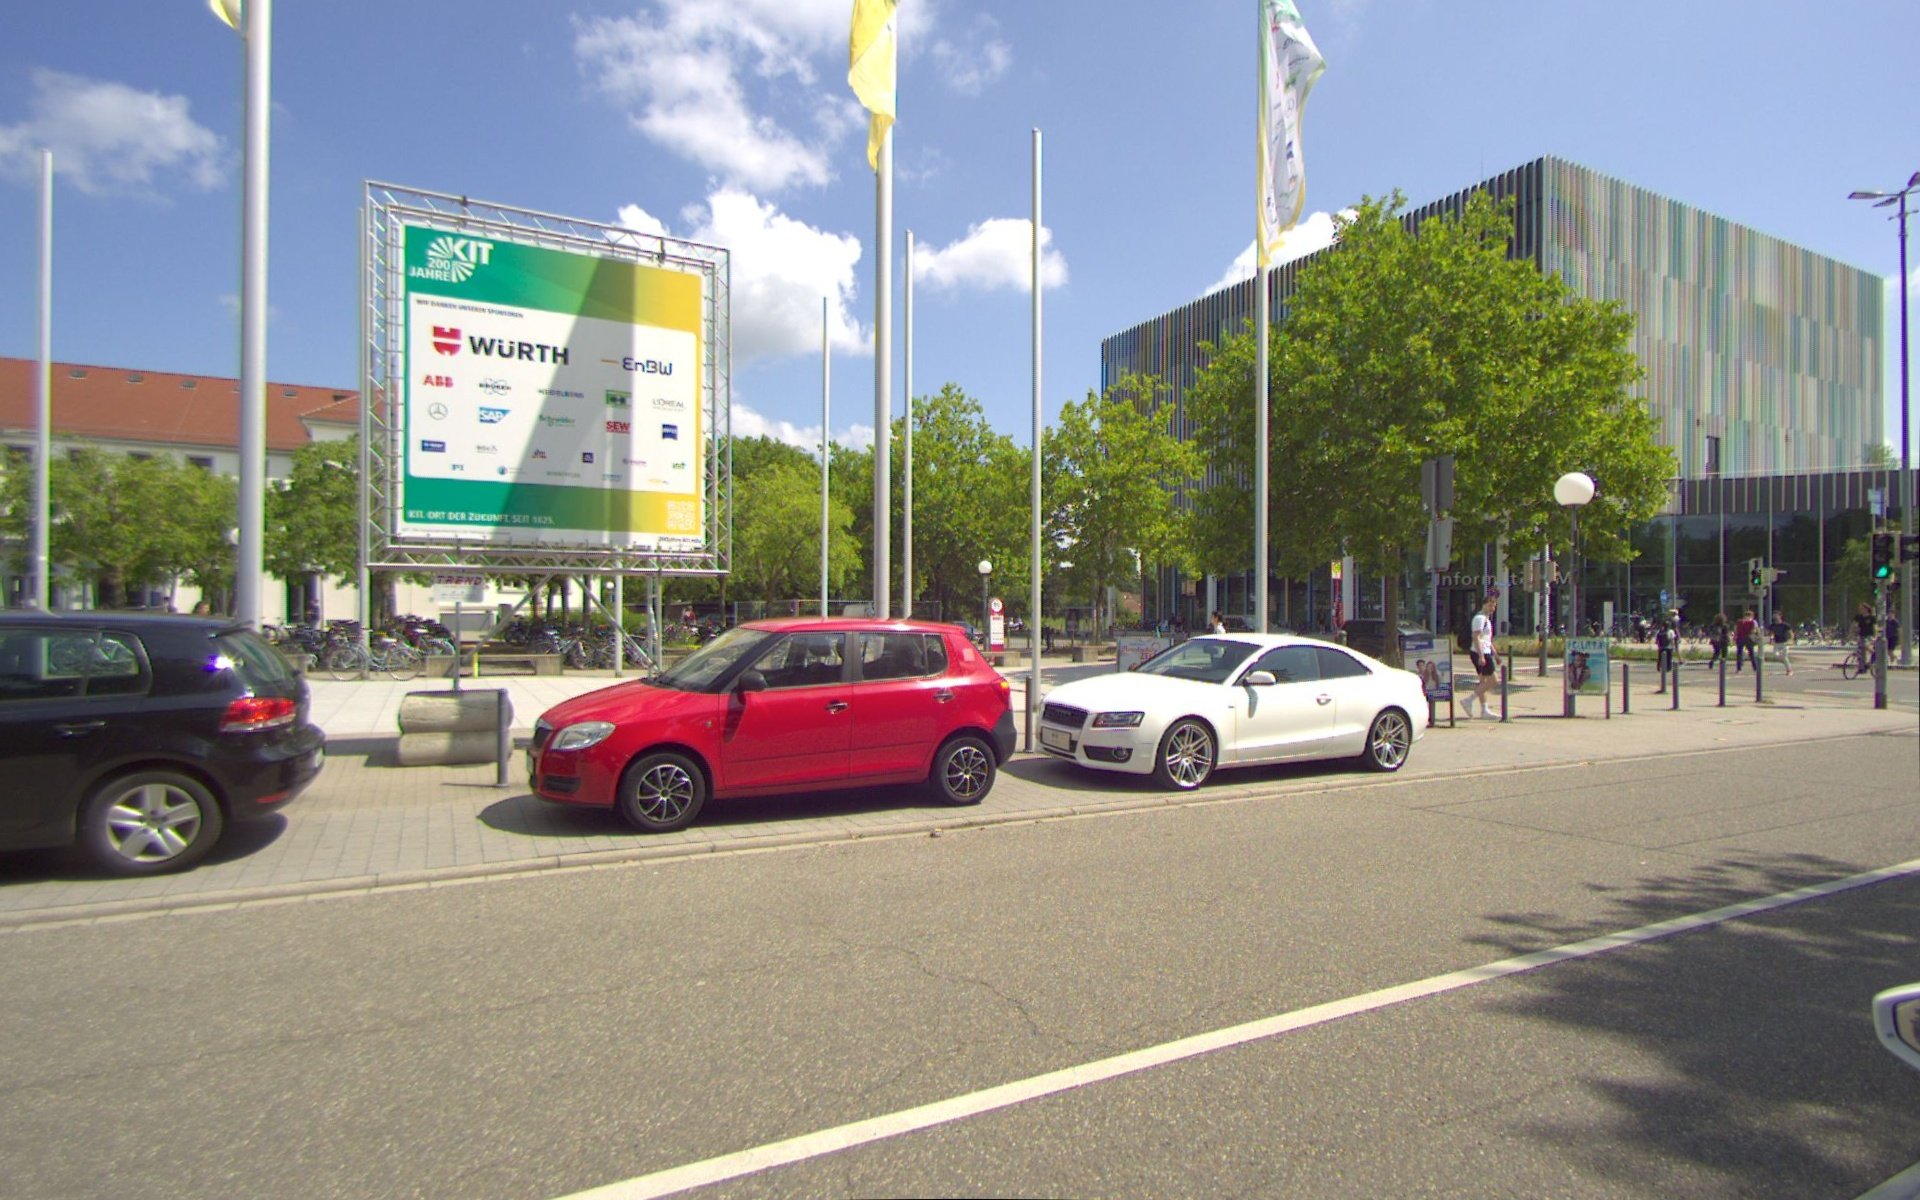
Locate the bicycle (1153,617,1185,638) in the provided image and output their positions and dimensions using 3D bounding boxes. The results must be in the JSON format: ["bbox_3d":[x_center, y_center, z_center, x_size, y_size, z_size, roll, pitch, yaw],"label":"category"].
[{"bbox_3d":[18.720,2.466,89.989,2.914,1.863,0.955,1,0,-28],"label":"bicycle"}]

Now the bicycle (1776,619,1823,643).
[{"bbox_3d":[45.205,1.640,54.120,1.178,1.254,2.949,1,-1,24],"label":"bicycle"}]

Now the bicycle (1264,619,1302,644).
[{"bbox_3d":[24.803,2.422,77.220,2.911,1.863,0.956,1,0,-25],"label":"bicycle"}]

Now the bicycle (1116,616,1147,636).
[{"bbox_3d":[16.214,2.480,94.800,2.914,1.863,0.955,1,0,-28],"label":"bicycle"}]

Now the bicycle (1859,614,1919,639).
[{"bbox_3d":[48.540,1.384,52.490,1.177,1.254,2.952,1,-1,16],"label":"bicycle"}]

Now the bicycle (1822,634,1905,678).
[{"bbox_3d":[24.102,1.481,26.795,1.994,1.137,0.770,0,-1,-19],"label":"bicycle"}]

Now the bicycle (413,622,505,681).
[{"bbox_3d":[-13.415,1.330,26.846,2.906,1.430,1.143,0,-1,40],"label":"bicycle"}]

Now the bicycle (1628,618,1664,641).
[{"bbox_3d":[38.710,1.636,56.714,1.178,1.254,2.949,1,-1,25],"label":"bicycle"}]

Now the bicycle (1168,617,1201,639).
[{"bbox_3d":[19.702,2.461,88.062,2.914,1.863,0.982,1,0,-28],"label":"bicycle"}]

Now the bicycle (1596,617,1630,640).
[{"bbox_3d":[37.229,1.598,57.291,1.178,1.254,2.949,1,-1,25],"label":"bicycle"}]

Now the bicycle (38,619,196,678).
[{"bbox_3d":[-21.312,1.209,25.462,2.896,1.430,1.147,1,0,-7],"label":"bicycle"}]

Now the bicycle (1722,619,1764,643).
[{"bbox_3d":[43.000,1.660,55.225,1.178,1.254,2.949,1,-1,25],"label":"bicycle"}]

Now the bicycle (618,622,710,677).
[{"bbox_3d":[-8.372,1.357,28.365,2.906,1.430,1.061,0,0,40],"label":"bicycle"}]

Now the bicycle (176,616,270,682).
[{"bbox_3d":[-17.660,1.130,24.046,2.906,1.430,1.143,0,-1,40],"label":"bicycle"}]

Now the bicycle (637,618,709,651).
[{"bbox_3d":[-12.685,1.515,44.400,2.910,1.430,1.059,1,0,-24],"label":"bicycle"}]

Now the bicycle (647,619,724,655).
[{"bbox_3d":[-11.218,1.502,41.066,2.910,1.430,1.059,1,0,-24],"label":"bicycle"}]

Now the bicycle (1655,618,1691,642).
[{"bbox_3d":[39.864,1.669,56.188,1.178,1.254,2.948,1,-1,26],"label":"bicycle"}]

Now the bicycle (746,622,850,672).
[{"bbox_3d":[-4.829,1.378,29.939,2.910,1.435,1.012,1,0,-24],"label":"bicycle"}]

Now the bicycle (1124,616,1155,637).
[{"bbox_3d":[16.755,2.477,93.773,2.914,1.863,0.955,1,0,-28],"label":"bicycle"}]

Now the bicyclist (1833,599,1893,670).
[{"bbox_3d":[24.078,0.910,26.788,0.983,1.841,0.789,0,-1,-19],"label":"bicyclist"}]

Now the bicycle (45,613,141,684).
[{"bbox_3d":[-19.175,1.034,22.185,2.906,1.430,1.143,0,-1,40],"label":"bicycle"}]

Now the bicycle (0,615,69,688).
[{"bbox_3d":[-19.895,1.043,21.241,2.906,1.430,1.143,0,-1,40],"label":"bicycle"}]

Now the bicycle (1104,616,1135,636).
[{"bbox_3d":[15.309,2.468,96.537,2.914,1.863,0.955,1,0,-28],"label":"bicycle"}]

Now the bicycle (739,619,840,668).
[{"bbox_3d":[-5.251,1.323,30.911,2.910,1.430,1.012,1,0,-24],"label":"bicycle"}]

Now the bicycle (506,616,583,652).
[{"bbox_3d":[-17.554,1.429,42.462,2.916,1.430,1.204,1,0,-30],"label":"bicycle"}]

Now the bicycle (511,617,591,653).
[{"bbox_3d":[-16.675,1.426,40.960,2.916,1.430,1.057,1,0,-30],"label":"bicycle"}]

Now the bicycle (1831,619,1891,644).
[{"bbox_3d":[47.473,1.654,52.991,1.177,1.254,2.952,1,-1,16],"label":"bicycle"}]

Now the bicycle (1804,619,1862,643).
[{"bbox_3d":[46.284,1.627,53.323,1.177,1.254,2.952,1,-1,16],"label":"bicycle"}]

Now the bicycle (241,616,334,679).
[{"bbox_3d":[-16.573,1.123,24.723,2.906,1.430,1.143,0,-1,40],"label":"bicycle"}]

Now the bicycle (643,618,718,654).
[{"bbox_3d":[-11.719,1.510,42.108,2.910,1.430,1.059,1,0,-24],"label":"bicycle"}]

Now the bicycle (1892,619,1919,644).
[{"bbox_3d":[49.622,1.647,51.707,1.177,1.254,2.952,1,-1,16],"label":"bicycle"}]

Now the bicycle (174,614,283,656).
[{"bbox_3d":[-26.146,1.247,35.969,2.907,1.430,1.142,1,0,-21],"label":"bicycle"}]

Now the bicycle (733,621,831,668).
[{"bbox_3d":[-5.639,1.391,31.916,2.910,1.430,1.012,1,0,-24],"label":"bicycle"}]

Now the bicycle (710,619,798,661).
[{"bbox_3d":[-7.371,1.433,35.975,2.910,1.430,1.059,1,0,-24],"label":"bicycle"}]

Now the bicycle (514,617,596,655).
[{"bbox_3d":[-16.042,1.424,39.816,2.916,1.430,1.057,1,0,-30],"label":"bicycle"}]

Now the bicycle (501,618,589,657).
[{"bbox_3d":[-15.729,1.411,38.136,2.898,1.430,1.064,1,0,-10],"label":"bicycle"}]

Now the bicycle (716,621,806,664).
[{"bbox_3d":[-6.924,1.458,34.926,2.910,1.430,1.059,1,0,-24],"label":"bicycle"}]

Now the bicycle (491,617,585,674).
[{"bbox_3d":[-11.481,1.189,27.259,2.906,1.430,1.143,0,-1,40],"label":"bicycle"}]

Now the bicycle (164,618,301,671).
[{"bbox_3d":[-20.442,1.249,28.290,2.896,1.430,1.147,1,0,-7],"label":"bicycle"}]

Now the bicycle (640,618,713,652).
[{"bbox_3d":[-12.194,1.510,43.179,2.910,1.430,1.059,1,0,-24],"label":"bicycle"}]

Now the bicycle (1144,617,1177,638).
[{"bbox_3d":[18.181,2.470,91.084,2.914,1.863,0.955,1,0,-28],"label":"bicycle"}]

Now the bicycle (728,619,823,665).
[{"bbox_3d":[-6.044,1.373,32.891,2.910,1.430,1.059,1,0,-24],"label":"bicycle"}]

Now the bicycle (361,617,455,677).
[{"bbox_3d":[-14.298,1.167,25.966,2.906,1.430,1.143,0,-1,40],"label":"bicycle"}]

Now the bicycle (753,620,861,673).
[{"bbox_3d":[-4.413,1.327,28.958,2.910,1.438,1.012,1,0,-24],"label":"bicycle"}]

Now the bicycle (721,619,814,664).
[{"bbox_3d":[-6.494,1.392,33.903,2.910,1.430,1.059,1,0,-24],"label":"bicycle"}]

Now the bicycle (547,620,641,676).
[{"bbox_3d":[-10.246,1.300,28.064,2.906,1.430,1.143,0,-1,40],"label":"bicycle"}]

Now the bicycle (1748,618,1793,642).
[{"bbox_3d":[44.124,1.634,54.726,1.178,1.254,2.949,1,-1,25],"label":"bicycle"}]

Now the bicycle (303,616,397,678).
[{"bbox_3d":[-15.389,1.145,25.299,2.906,1.430,1.143,0,-1,40],"label":"bicycle"}]

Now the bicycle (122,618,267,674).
[{"bbox_3d":[-20.496,1.235,26.958,2.896,1.430,1.147,1,0,-7],"label":"bicycle"}]

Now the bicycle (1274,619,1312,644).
[{"bbox_3d":[25.256,2.418,76.216,2.912,1.863,0.956,1,0,-26],"label":"bicycle"}]

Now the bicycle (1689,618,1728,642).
[{"bbox_3d":[41.713,1.651,56.016,1.178,1.254,2.949,1,-1,25],"label":"bicycle"}]

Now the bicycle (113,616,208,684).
[{"bbox_3d":[-18.404,1.110,23.092,2.906,1.430,1.143,0,-1,40],"label":"bicycle"}]
